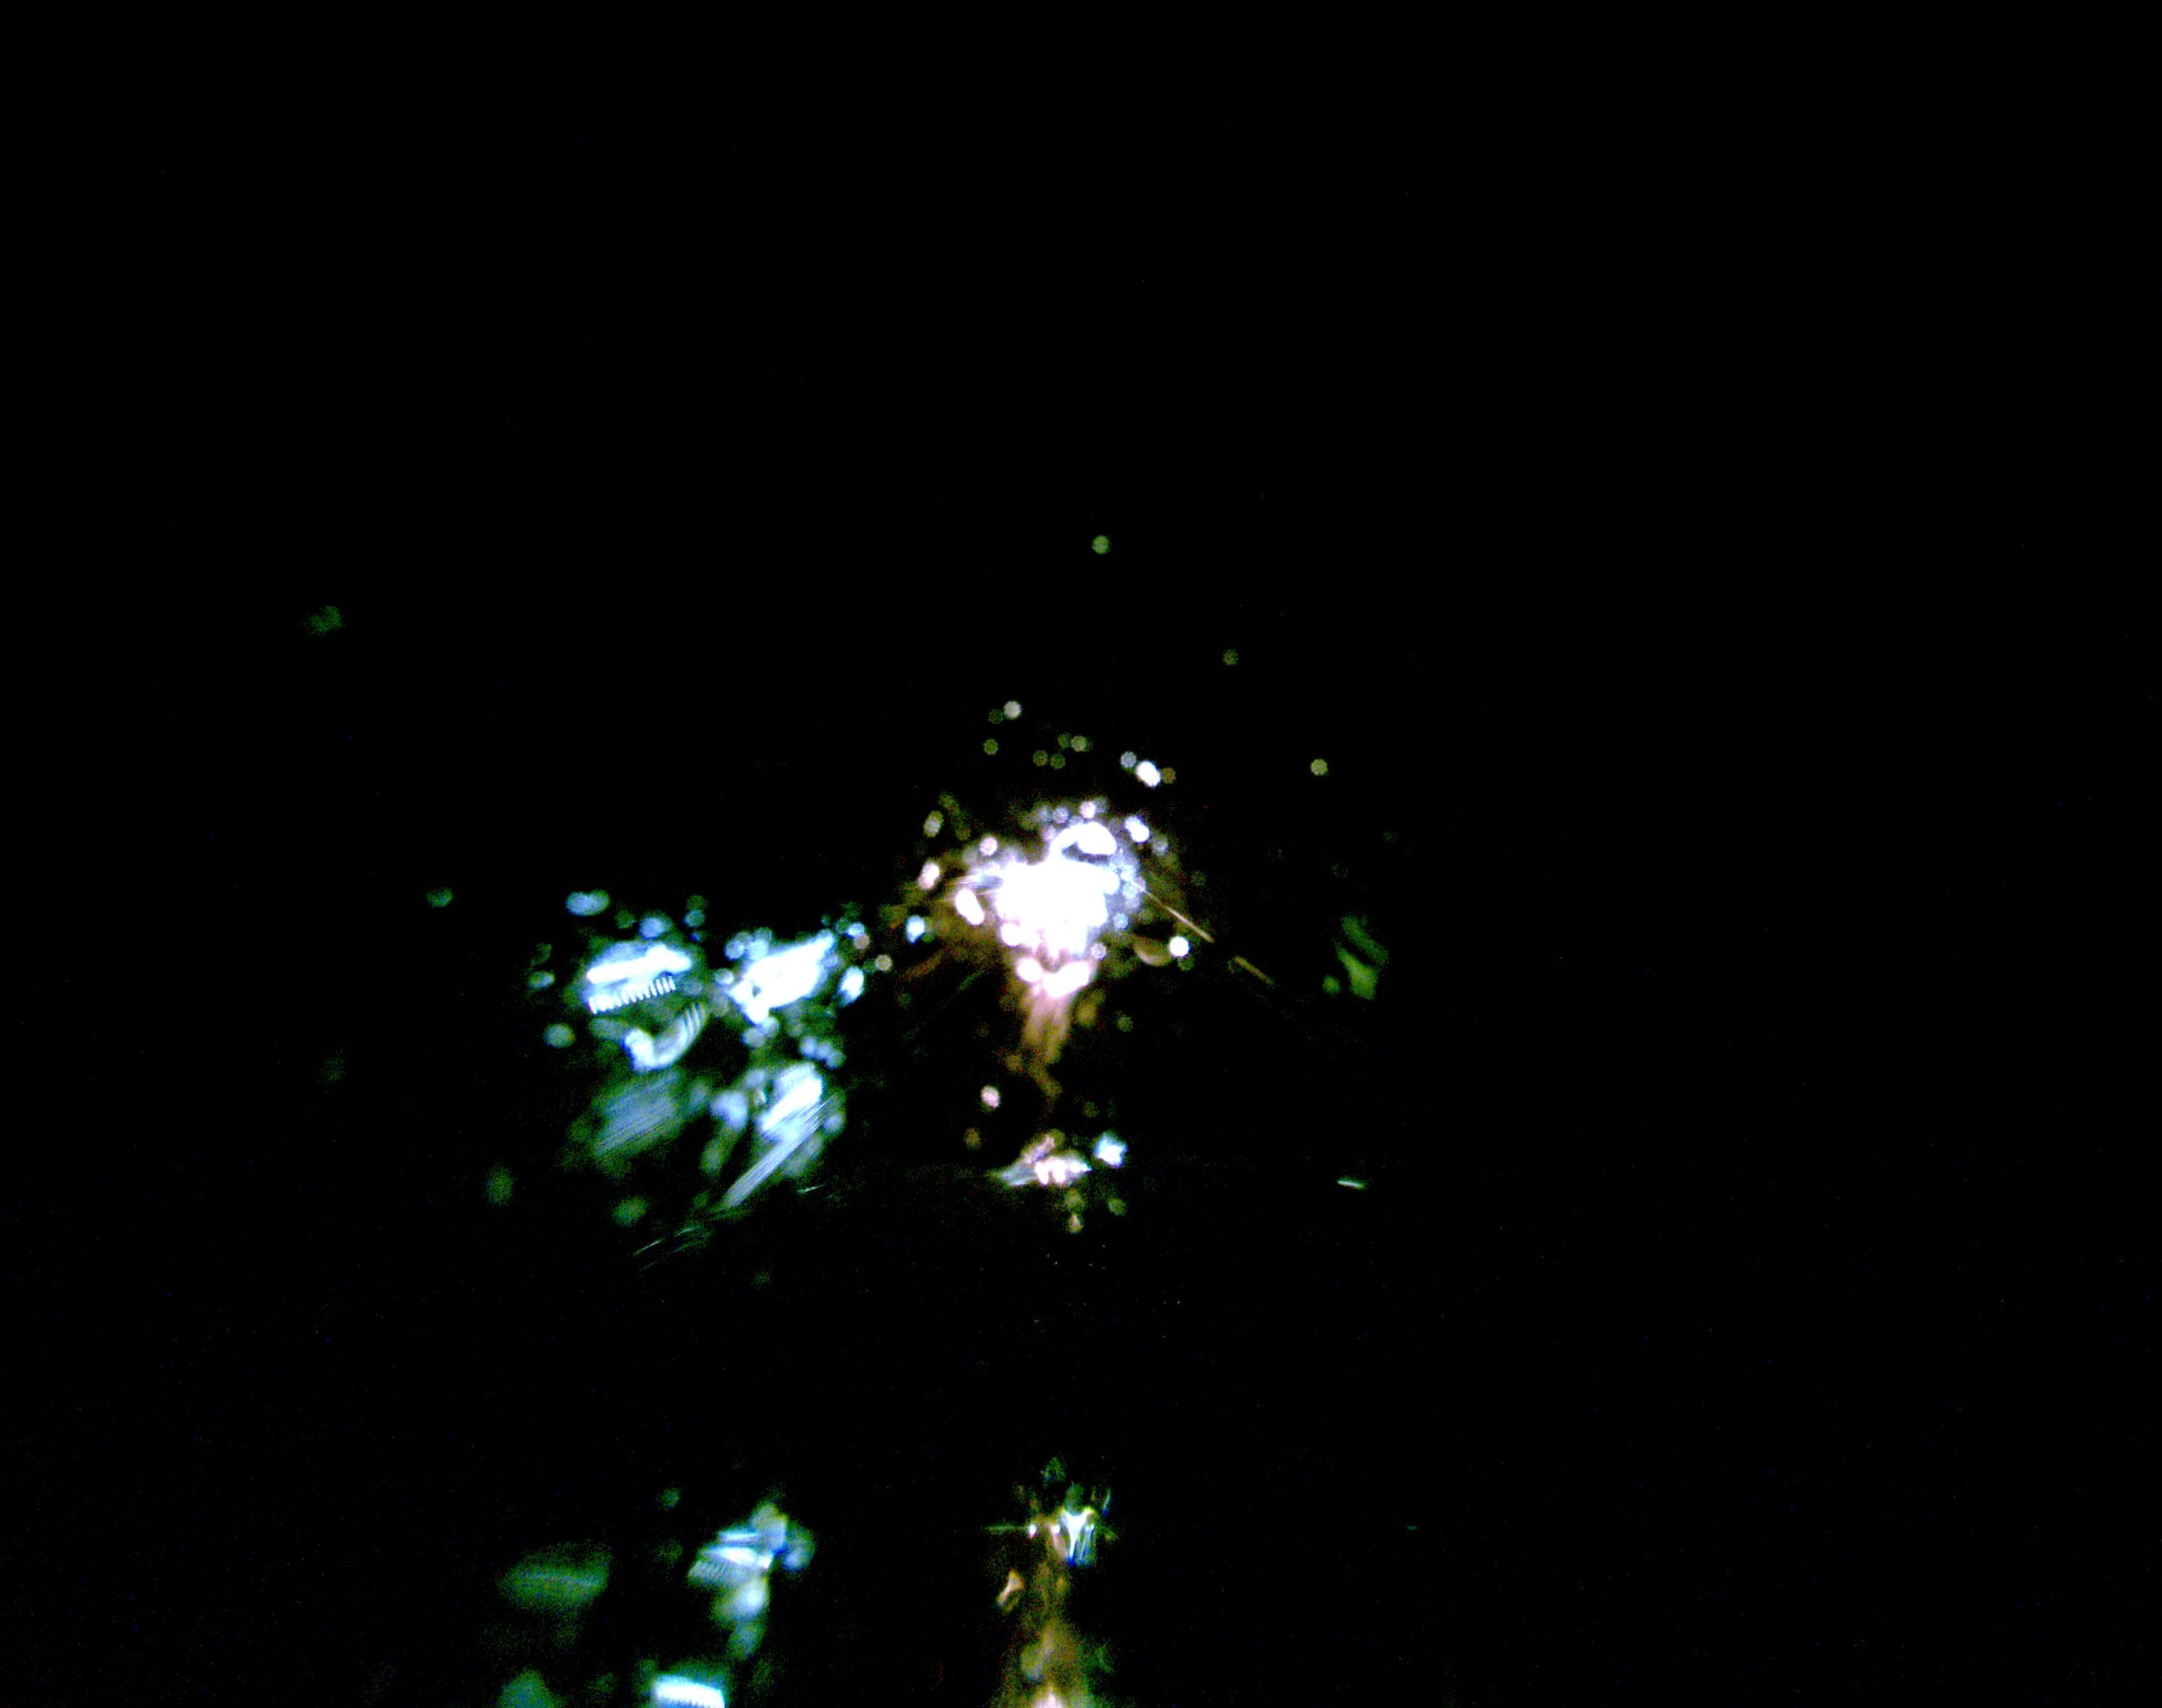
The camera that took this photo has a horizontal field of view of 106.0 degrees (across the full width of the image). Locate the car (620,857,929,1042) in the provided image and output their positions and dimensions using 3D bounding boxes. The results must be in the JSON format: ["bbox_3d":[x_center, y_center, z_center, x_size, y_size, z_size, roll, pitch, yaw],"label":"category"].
[{"bbox_3d":[-3.150,0.872,9.372,1.881,1.586,4.002,-2,0,2],"label":"car"}]

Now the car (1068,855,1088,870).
[{"bbox_3d":[-0.379,1.001,94.522,2.034,1.607,3.995,-4,-2,-2],"label":"car"}]

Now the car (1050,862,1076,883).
[{"bbox_3d":[-1.511,1.580,70.375,1.882,1.635,4.392,-5,-2,2],"label":"car"}]

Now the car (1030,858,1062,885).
[{"bbox_3d":[-2.041,0.990,48.770,1.695,1.467,4.041,-2,0,0],"label":"car"}]
